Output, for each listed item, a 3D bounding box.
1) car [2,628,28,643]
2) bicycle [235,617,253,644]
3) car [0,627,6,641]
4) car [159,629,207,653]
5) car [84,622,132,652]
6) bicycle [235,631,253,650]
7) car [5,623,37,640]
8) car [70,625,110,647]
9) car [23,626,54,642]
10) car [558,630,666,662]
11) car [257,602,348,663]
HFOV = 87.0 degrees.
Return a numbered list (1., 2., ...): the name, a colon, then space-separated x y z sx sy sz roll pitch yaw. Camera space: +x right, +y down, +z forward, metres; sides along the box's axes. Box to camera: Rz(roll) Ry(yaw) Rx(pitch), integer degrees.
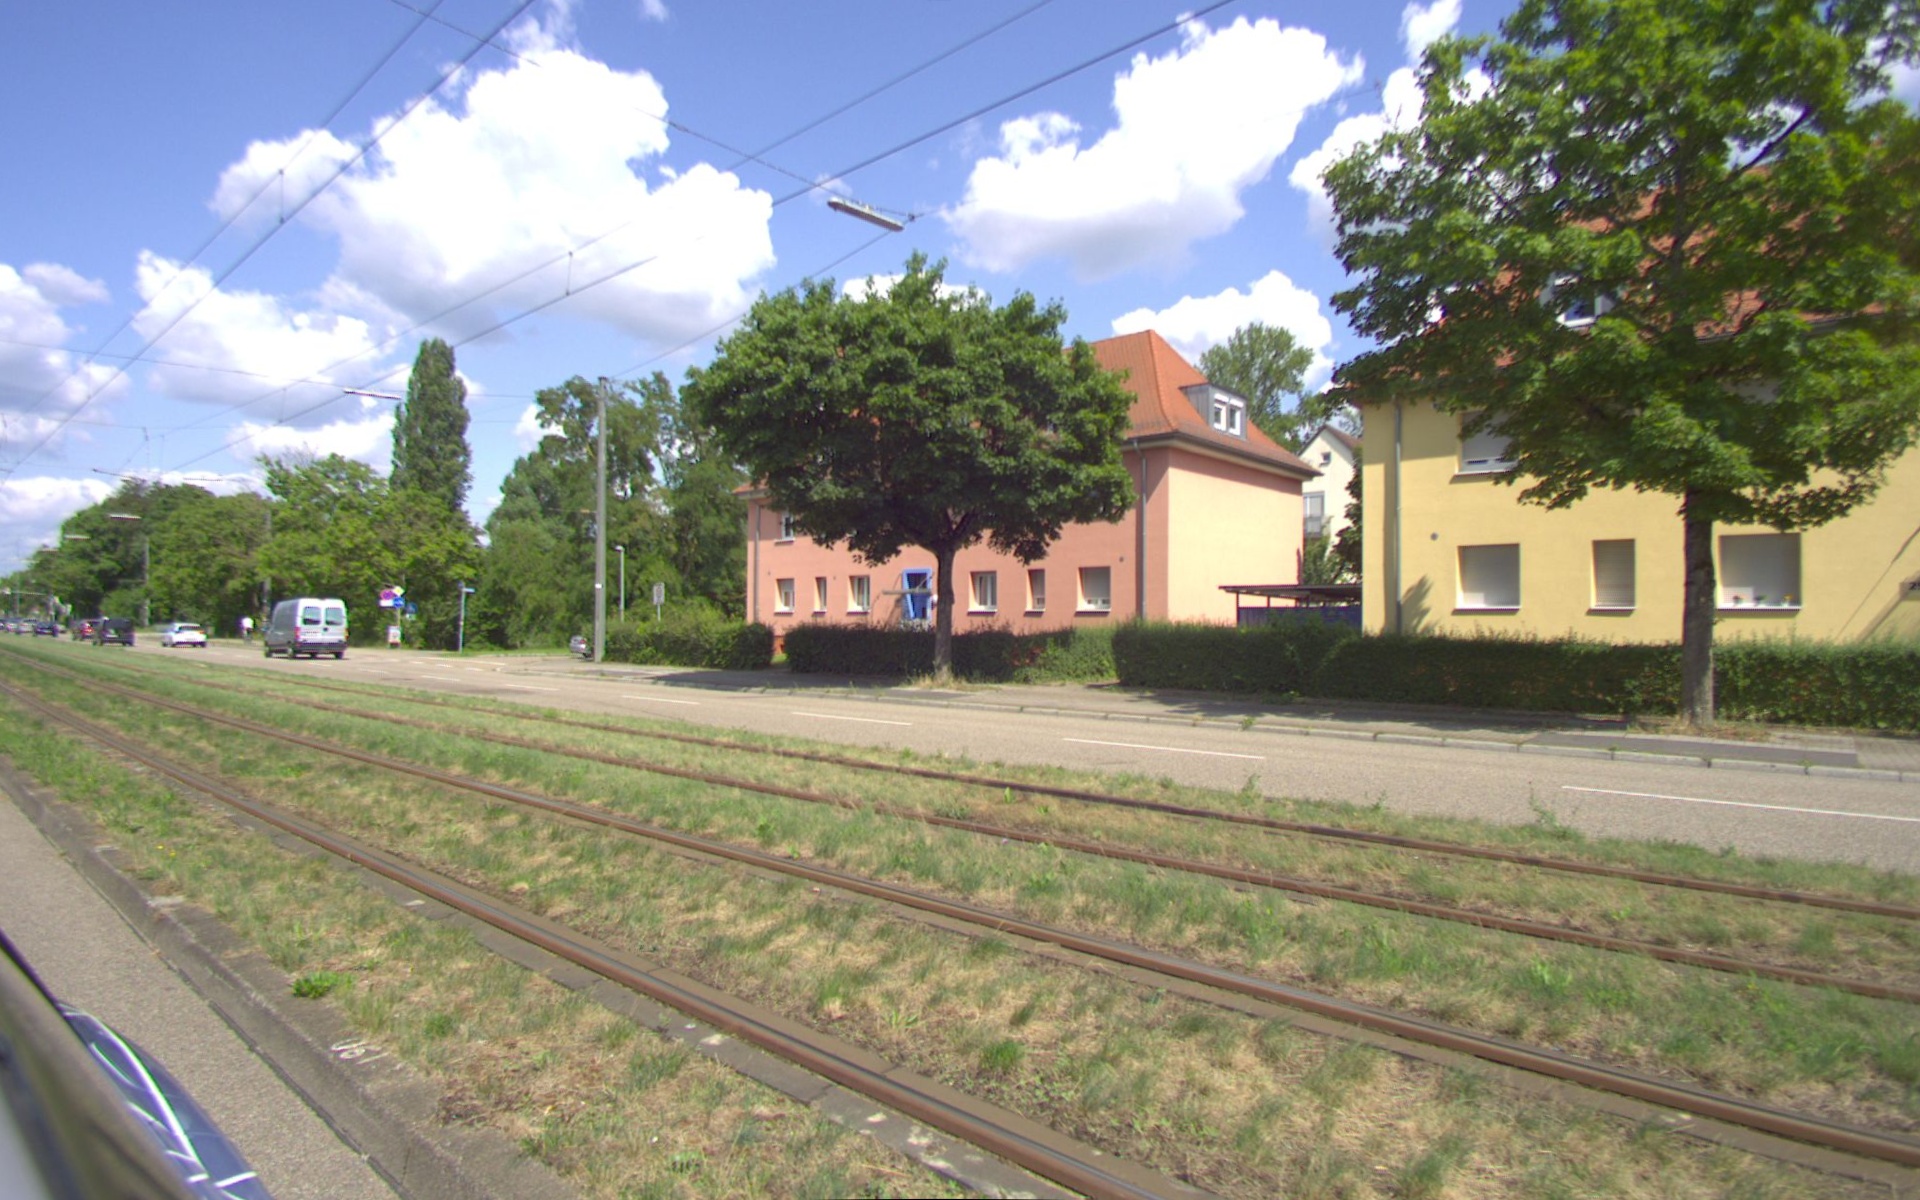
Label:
1. car: -105.703 3.932 113.204 4.277 1.664 1.895 -2 -2 44
2. bicycle: -46.870 1.989 66.242 0.952 1.697 0.790 -2 -2 43
3. car: -118.661 4.189 124.164 4.277 1.664 2.092 -2 -2 44
4. car: -47.956 2.484 62.428 4.276 1.442 1.667 -1 -2 43
5. car: -51.829 2.208 61.547 4.227 1.760 1.667 -1 -2 43
6. bicycle: -46.874 2.650 66.237 1.957 1.197 0.634 -2 -2 44
7. car: -93.767 3.157 101.004 4.277 1.664 2.092 -2 -2 44
8. car: -65.985 2.726 76.759 4.275 1.591 1.709 -1 -2 42
9. car: -80.755 2.988 88.642 4.277 1.405 1.708 -2 -2 44
10. car: -16.438 2.157 47.893 4.401 1.416 2.003 1 -2 -40
11. car: -28.433 1.413 43.681 5.780 2.455 2.009 -2 -4 45
